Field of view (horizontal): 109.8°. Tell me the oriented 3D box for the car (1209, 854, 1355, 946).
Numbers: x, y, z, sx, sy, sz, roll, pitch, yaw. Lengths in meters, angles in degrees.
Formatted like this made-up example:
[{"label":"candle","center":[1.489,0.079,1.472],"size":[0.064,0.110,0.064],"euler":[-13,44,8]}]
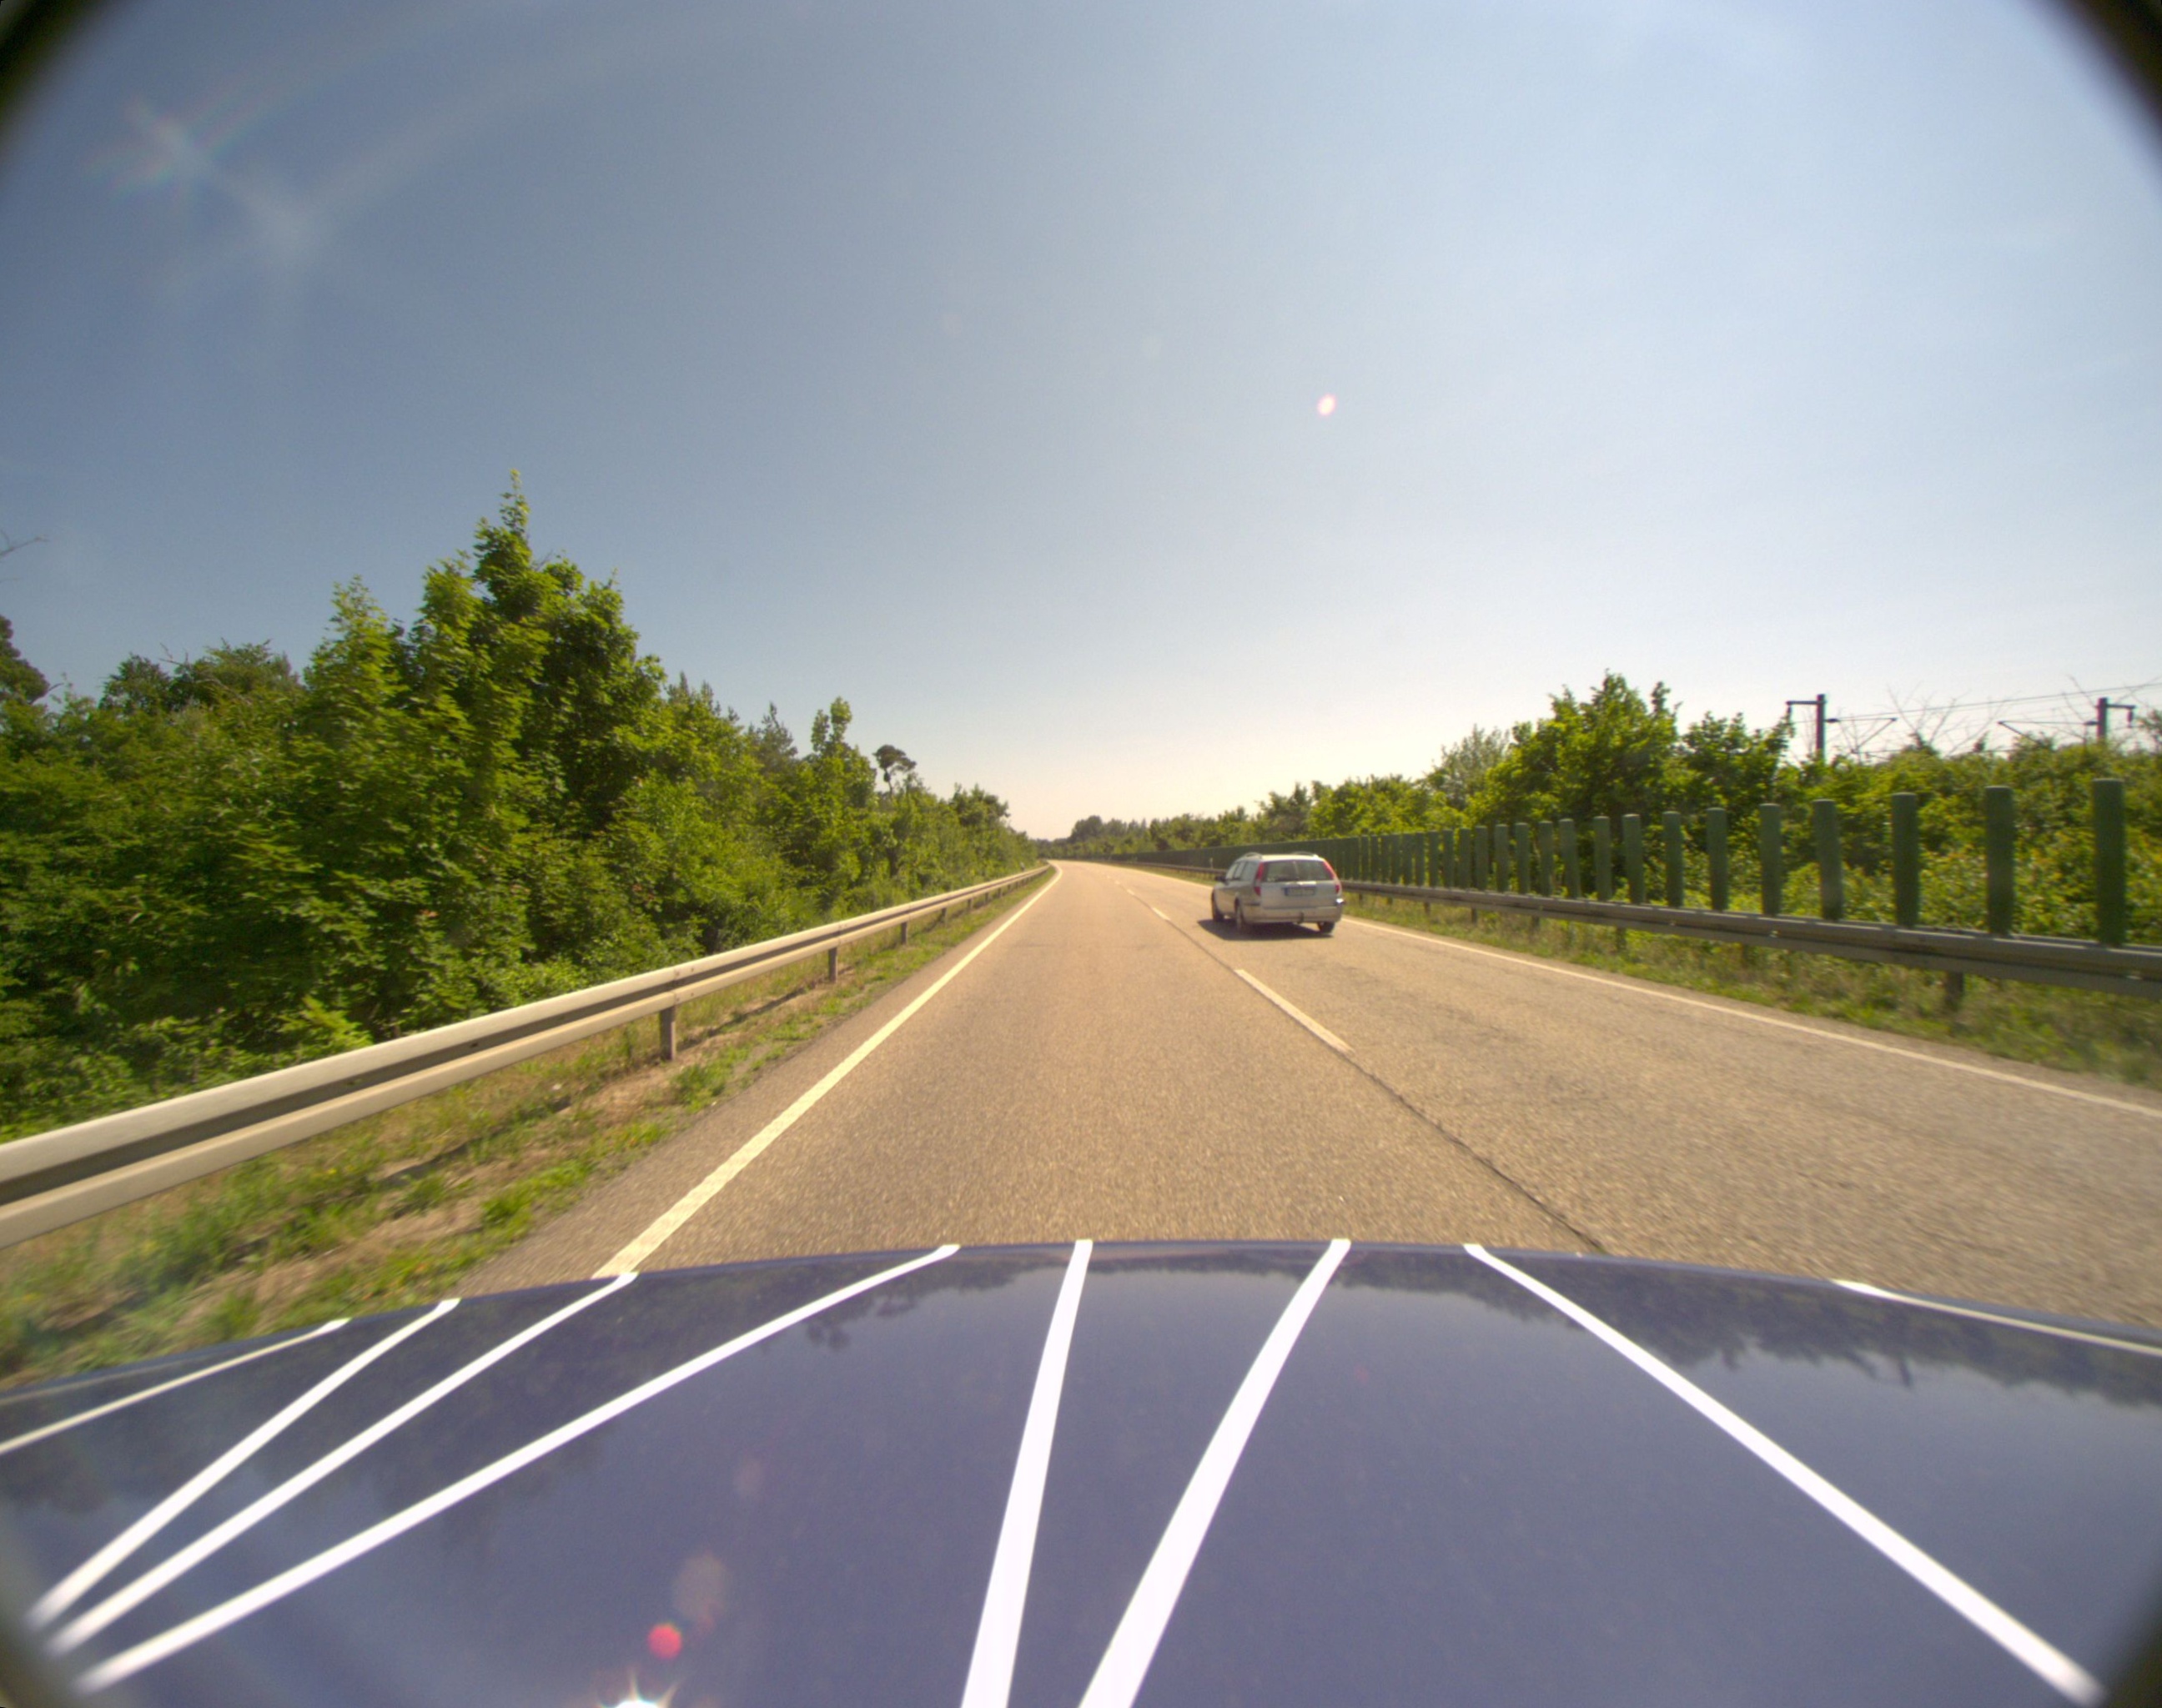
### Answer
[{"label":"car","center":[3.729,0.779,14.876],"size":[1.724,1.492,4.248],"euler":[-1,0,0]}]
